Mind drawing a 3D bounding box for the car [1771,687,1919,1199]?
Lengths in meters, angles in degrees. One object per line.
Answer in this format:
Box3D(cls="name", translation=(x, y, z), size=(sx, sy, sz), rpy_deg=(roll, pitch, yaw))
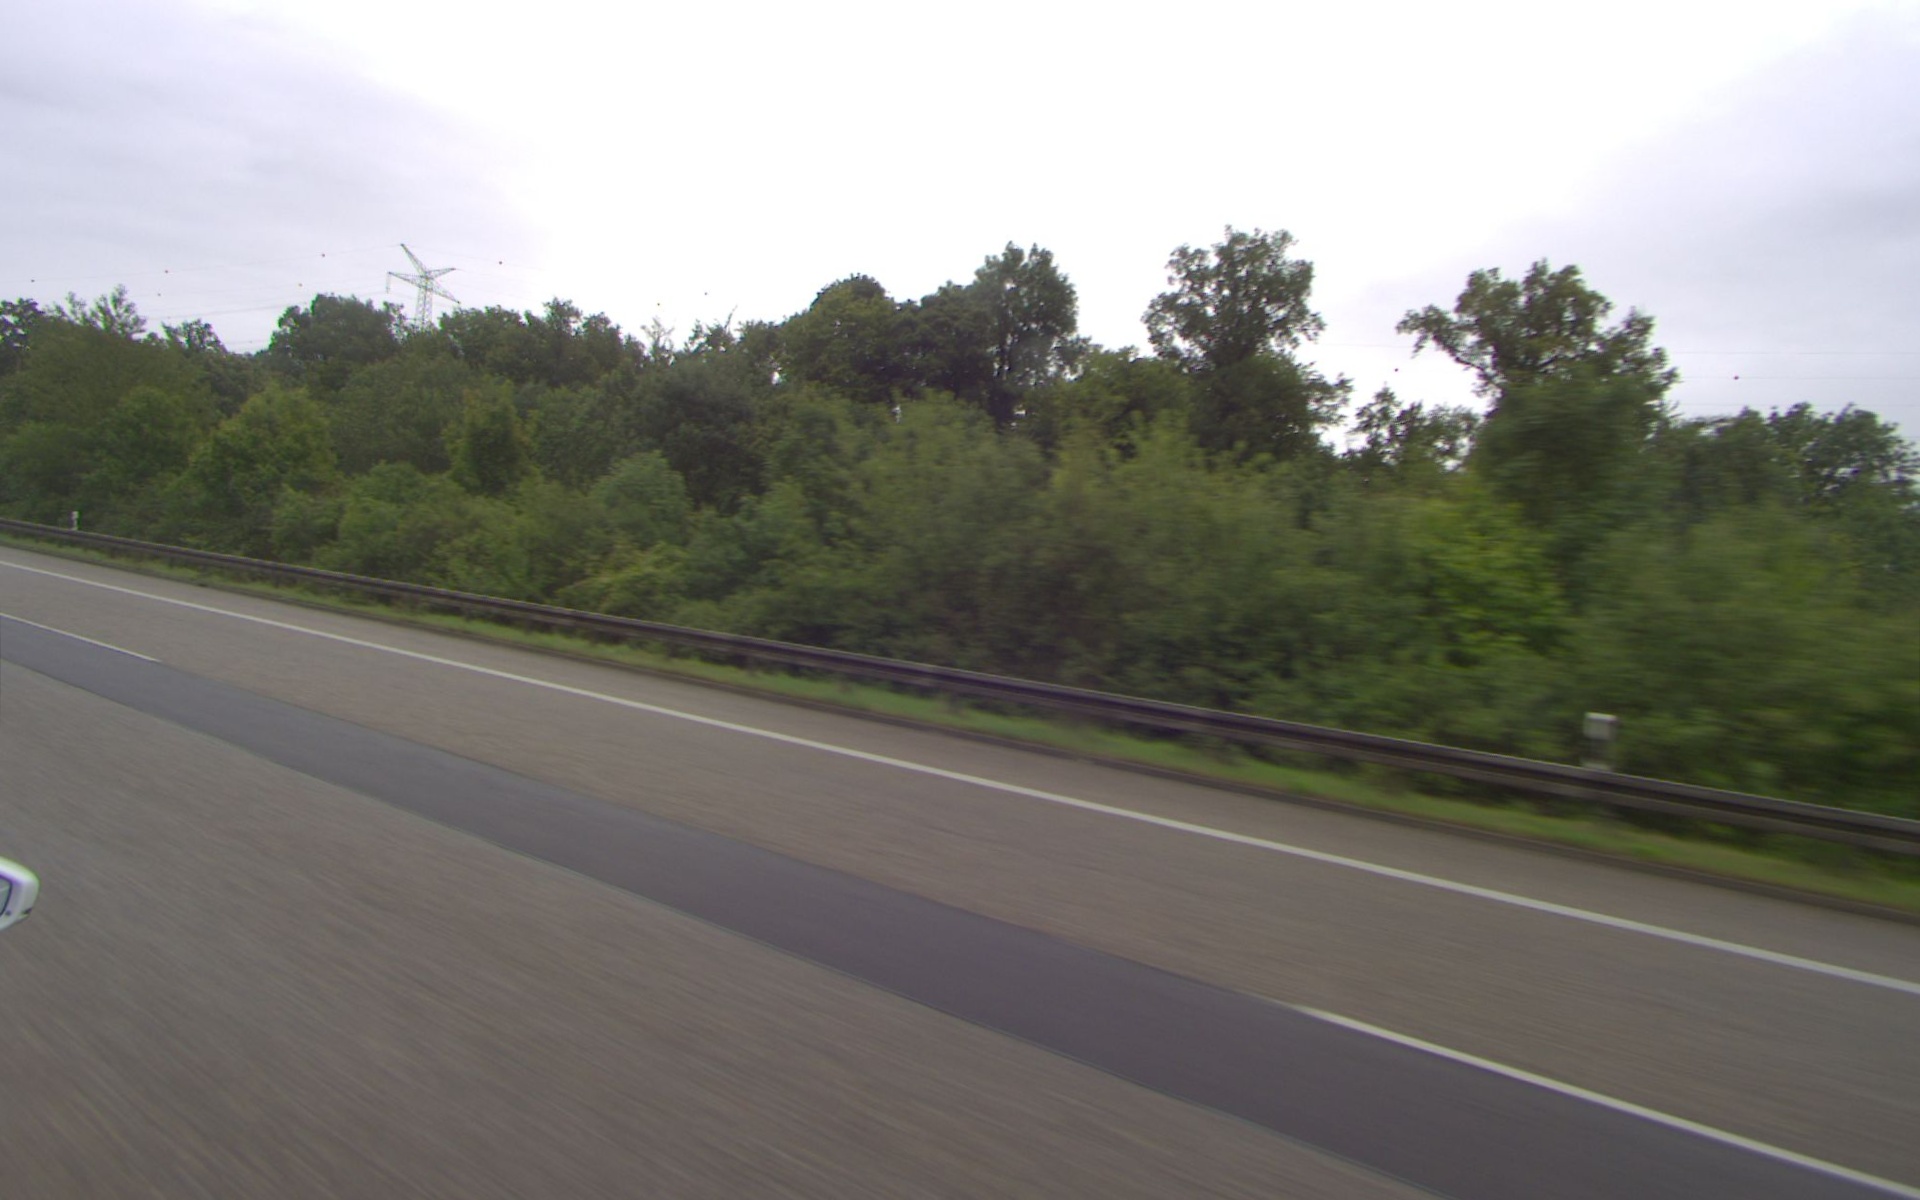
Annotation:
Box3D(cls="car", translation=(4.136, 1.204, 0.961), size=(4.881, 1.586, 1.864), rpy_deg=(6, -1, 31))
